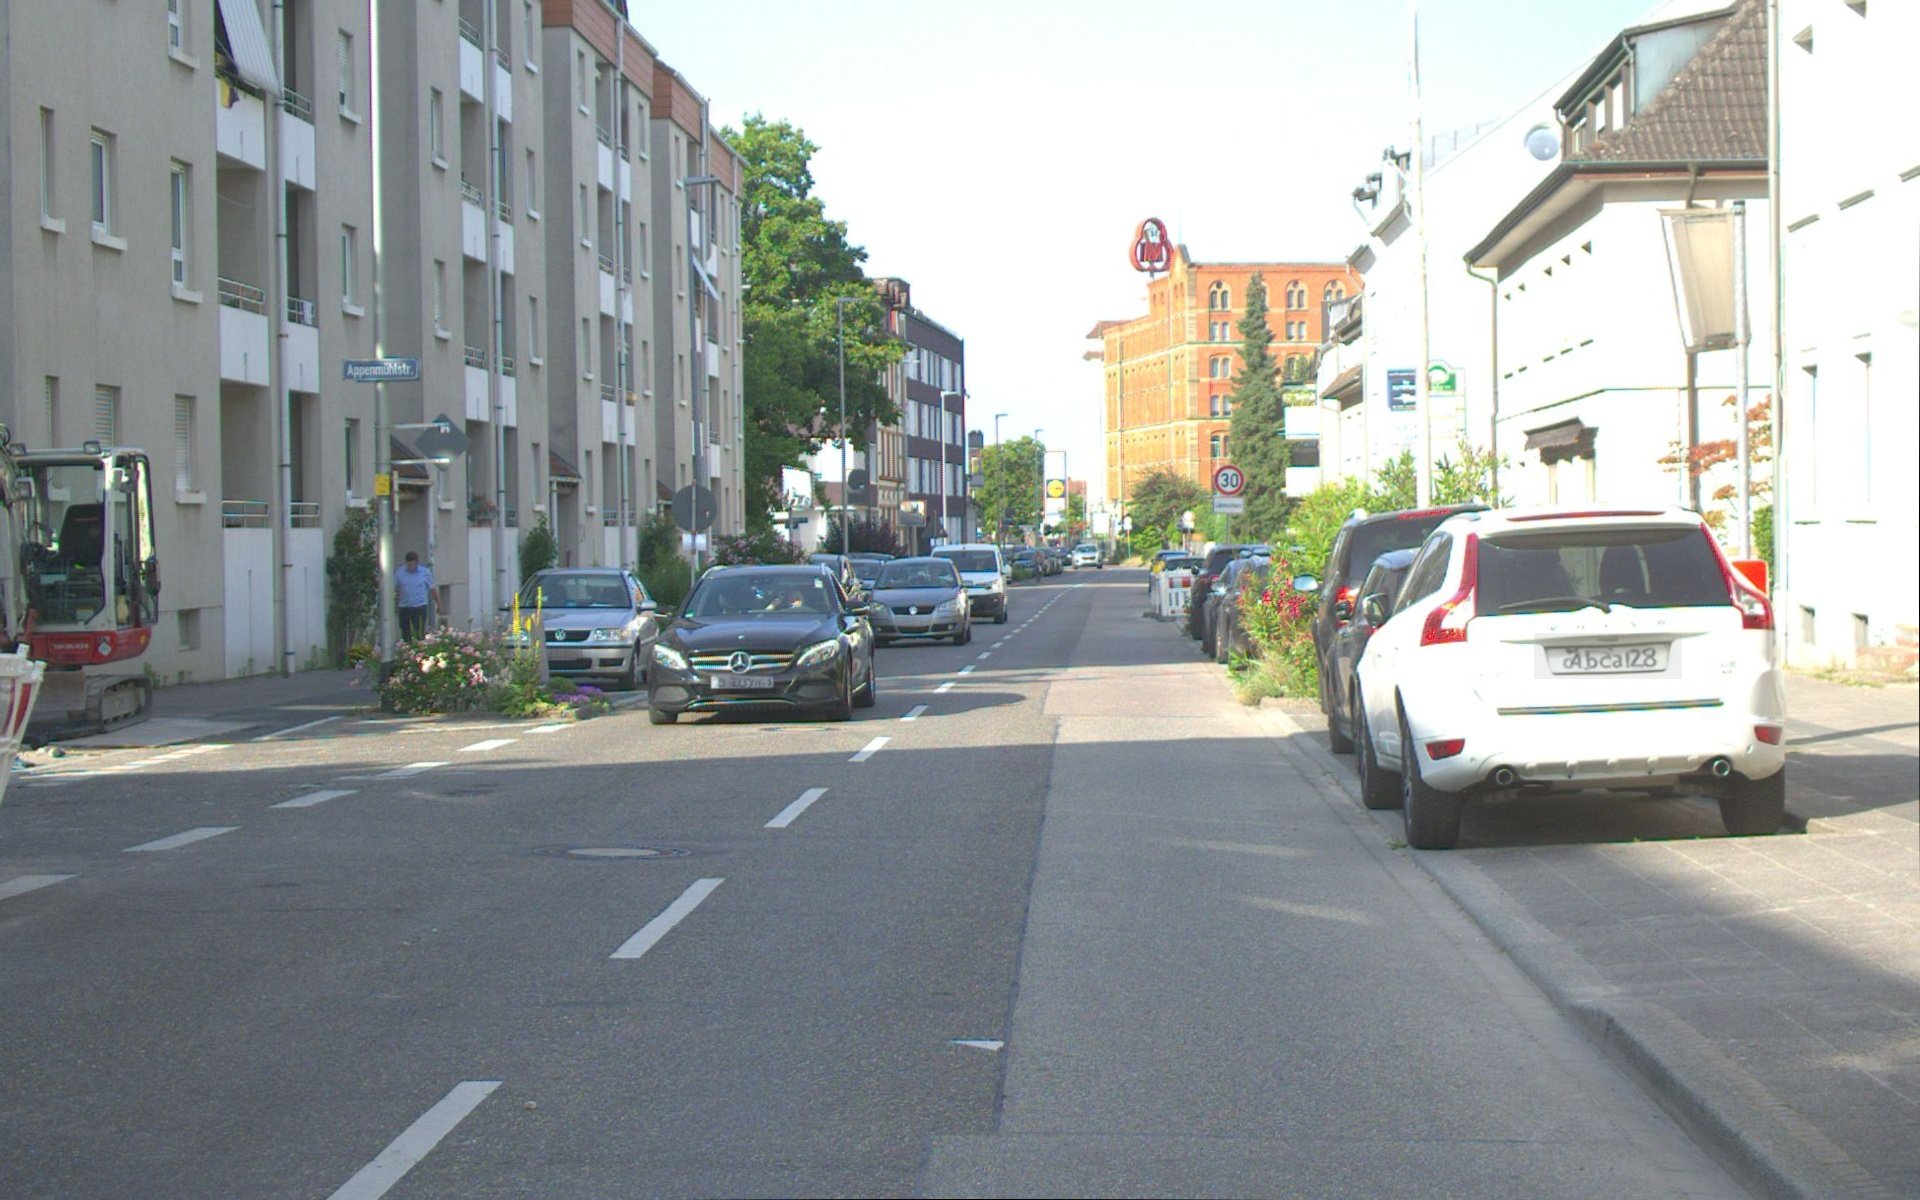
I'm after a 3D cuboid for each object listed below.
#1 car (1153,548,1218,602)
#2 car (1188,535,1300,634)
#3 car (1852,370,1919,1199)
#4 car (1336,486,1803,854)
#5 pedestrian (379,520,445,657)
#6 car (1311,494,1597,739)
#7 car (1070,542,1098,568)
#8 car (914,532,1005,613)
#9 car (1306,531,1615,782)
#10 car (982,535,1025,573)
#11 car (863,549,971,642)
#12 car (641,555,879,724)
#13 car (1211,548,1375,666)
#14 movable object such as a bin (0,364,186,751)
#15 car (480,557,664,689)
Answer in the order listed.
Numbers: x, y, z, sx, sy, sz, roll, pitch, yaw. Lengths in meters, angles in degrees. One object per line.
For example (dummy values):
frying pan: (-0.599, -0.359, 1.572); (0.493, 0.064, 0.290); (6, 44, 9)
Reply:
car: (6.567, -0.749, 100.124); (1.830, 1.477, 3.942); (-1, 1, 4)
car: (4.960, -0.244, 60.478); (1.830, 1.624, 4.462); (2, -1, 4)
car: (2.836, 0.399, 5.266); (1.778, 1.735, 4.483); (-2, 1, 1)
car: (3.098, 0.278, 18.324); (1.812, 1.678, 4.476); (-2, 1, 2)
pedestrian: (-7.296, -0.159, 45.773); (0.718, 1.812, 0.745); (0, 1, 3)
car: (4.091, 0.070, 29.168); (2.076, 1.849, 4.609); (-2, 1, 5)
car: (8.237, -2.980, 227.552); (1.763, 1.611, 4.000); (-1, 1, 3)
car: (0.026, -0.650, 77.810); (1.922, 1.761, 4.338); (-1, 1, 2)
car: (3.378, 0.331, 23.924); (1.589, 1.523, 4.613); (-2, 1, 2)
car: (2.239, -2.324, 174.174); (1.994, 1.875, 4.000); (-1, 1, 3)
car: (-0.688, -0.105, 57.387); (1.617, 1.450, 3.685); (-1, 1, 2)
car: (-1.786, 0.313, 31.965); (1.830, 1.415, 4.209); (-1, 1, 2)
car: (4.237, 0.052, 44.258); (1.779, 1.415, 4.496); (-1, 1, 2)
movable object such as a bin: (-8.046, -0.385, 29.855); (1.648, 3.127, 3.900); (-1, 1, 1)
car: (-4.472, 0.229, 40.053); (1.640, 1.391, 3.671); (-1, 1, 1)
